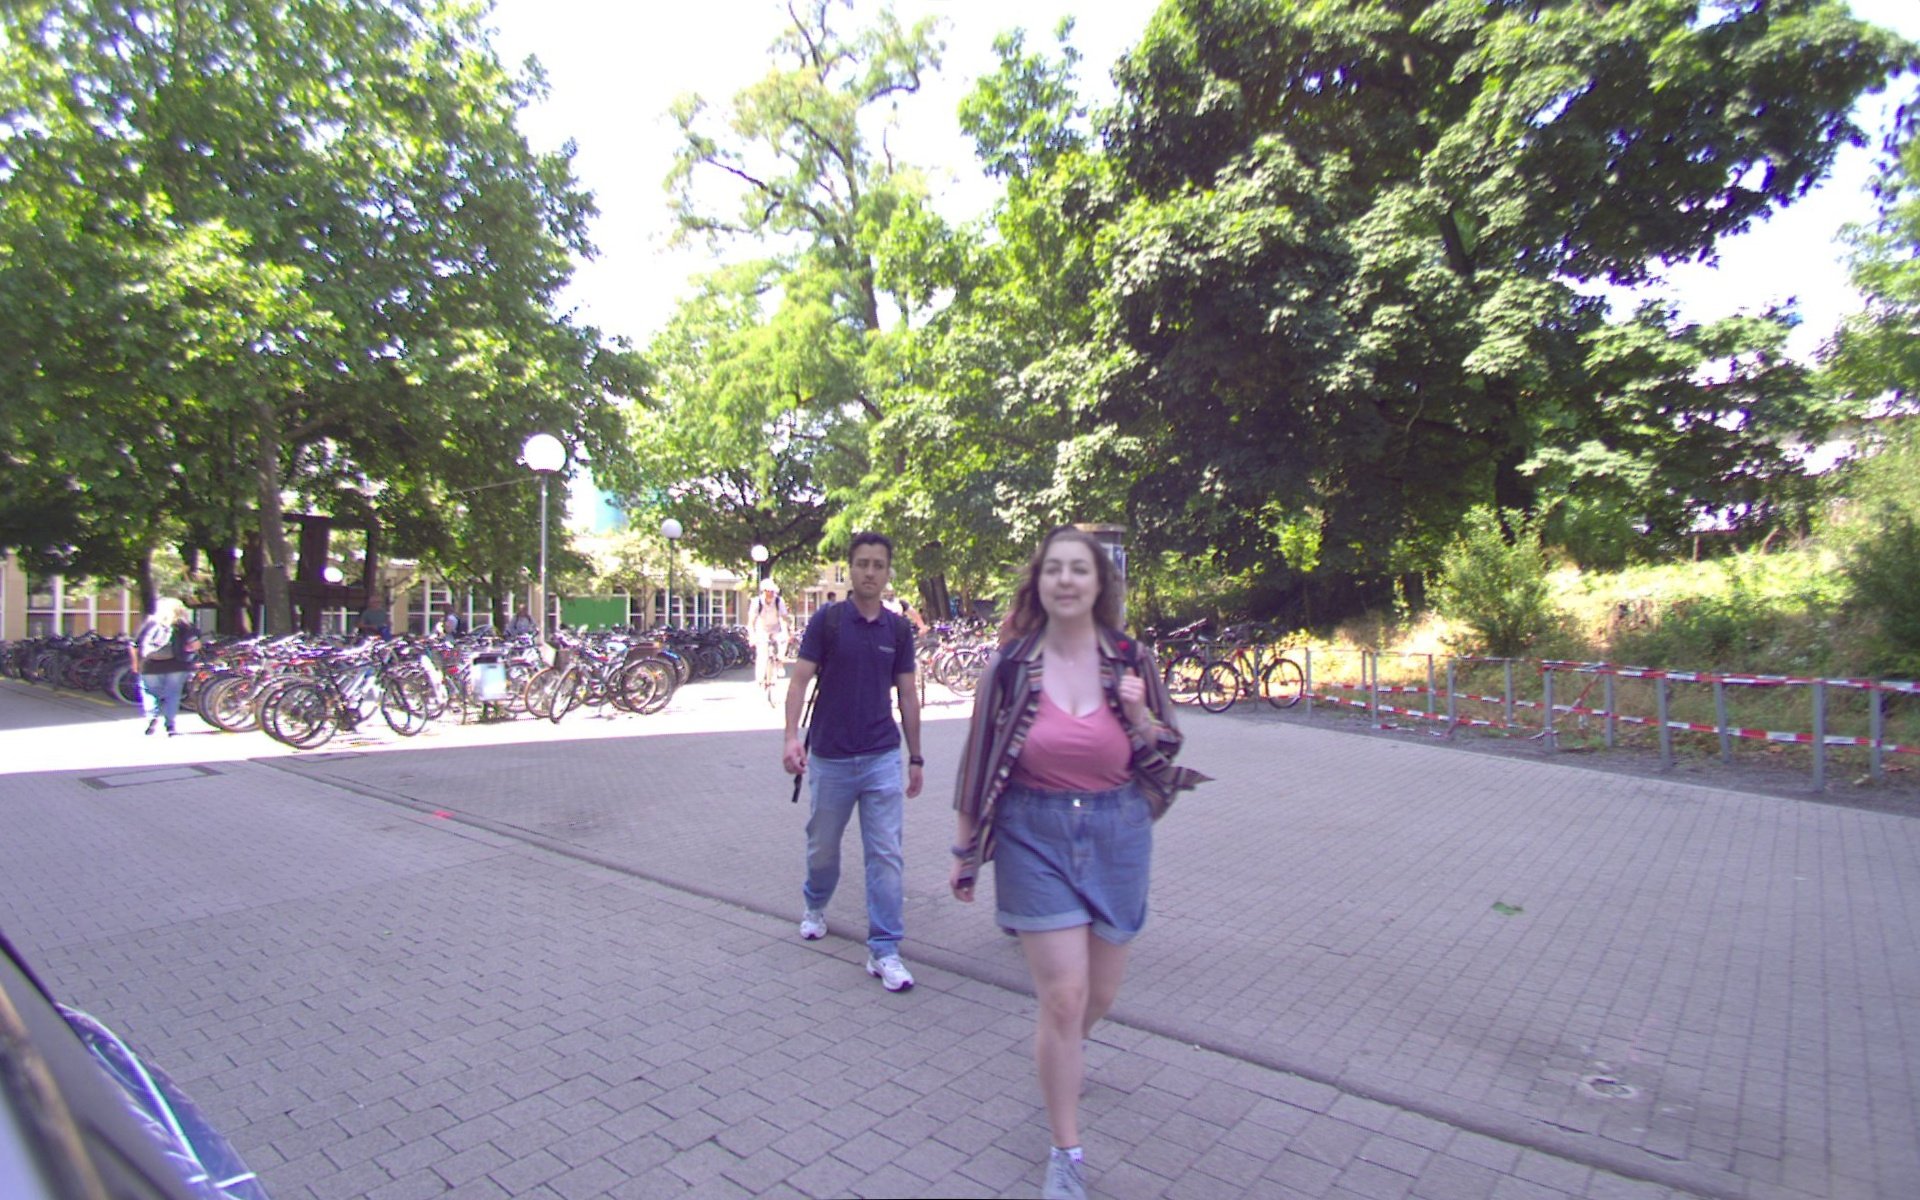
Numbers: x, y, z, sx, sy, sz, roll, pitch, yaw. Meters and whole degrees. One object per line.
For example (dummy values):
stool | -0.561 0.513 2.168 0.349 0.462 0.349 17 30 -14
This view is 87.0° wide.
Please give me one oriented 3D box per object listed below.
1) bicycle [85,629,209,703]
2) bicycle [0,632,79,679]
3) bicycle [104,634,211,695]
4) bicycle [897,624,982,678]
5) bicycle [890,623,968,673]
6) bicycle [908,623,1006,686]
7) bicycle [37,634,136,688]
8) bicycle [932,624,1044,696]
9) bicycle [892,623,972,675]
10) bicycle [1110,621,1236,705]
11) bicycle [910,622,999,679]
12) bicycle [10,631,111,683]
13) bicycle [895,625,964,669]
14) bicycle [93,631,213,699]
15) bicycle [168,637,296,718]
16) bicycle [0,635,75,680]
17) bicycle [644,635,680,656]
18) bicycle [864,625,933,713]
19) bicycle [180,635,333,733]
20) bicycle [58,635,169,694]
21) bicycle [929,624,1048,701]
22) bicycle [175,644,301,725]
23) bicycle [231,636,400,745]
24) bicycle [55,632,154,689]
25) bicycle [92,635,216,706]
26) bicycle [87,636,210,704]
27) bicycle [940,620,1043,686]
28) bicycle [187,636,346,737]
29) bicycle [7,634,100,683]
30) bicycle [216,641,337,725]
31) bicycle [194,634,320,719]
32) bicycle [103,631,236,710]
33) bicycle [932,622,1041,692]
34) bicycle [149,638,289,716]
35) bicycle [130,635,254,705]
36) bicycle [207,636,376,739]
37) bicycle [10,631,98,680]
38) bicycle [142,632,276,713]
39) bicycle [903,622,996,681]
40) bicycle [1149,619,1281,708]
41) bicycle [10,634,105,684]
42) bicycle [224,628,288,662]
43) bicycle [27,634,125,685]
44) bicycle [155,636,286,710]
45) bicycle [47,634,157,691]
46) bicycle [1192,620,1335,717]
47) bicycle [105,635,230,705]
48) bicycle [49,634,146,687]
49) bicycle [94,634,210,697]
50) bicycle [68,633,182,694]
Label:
bicycle | -14.933 1.184 18.629 0.495 1.245 1.721 -1 -1 33
bicycle | -23.538 1.405 25.779 0.691 1.116 1.606 -1 -1 45
bicycle | -16.167 1.274 20.431 0.492 1.116 1.731 -1 -1 16
bicycle | -0.441 1.084 21.795 1.749 1.118 0.518 0 -1 -11
bicycle | -0.734 1.119 23.728 1.750 1.118 0.518 -1 -1 -8
bicycle | -0.064 1.006 18.780 1.749 1.118 0.475 0 -1 -11
bicycle | -19.128 1.320 22.199 1.603 1.116 0.498 0 -1 -36
bicycle | 0.441 0.962 16.432 1.750 1.118 0.475 -1 -1 -6
bicycle | -0.632 1.103 22.832 1.750 1.118 0.518 -1 -1 -8
bicycle | 3.028 0.877 14.352 1.747 1.118 0.475 0 -1 -21
bicycle | -0.118 1.036 20.976 1.749 1.118 0.518 0 -1 -11
bicycle | -21.752 1.357 24.508 0.496 1.170 1.764 -1 -1 35
bicycle | -0.817 1.226 26.719 1.750 1.118 0.518 -1 -1 -8
bicycle | -15.234 1.200 19.143 0.496 1.187 1.718 -1 -1 39
bicycle | -11.026 1.146 15.394 0.469 1.116 1.692 -1 -1 13
bicycle | -24.058 1.483 26.277 0.497 1.116 1.606 -1 -1 45
bicycle | -16.184 2.467 55.014 0.605 1.116 1.805 1 -1 42
bicycle | -0.884 0.928 14.139 0.466 1.118 1.851 0 -1 -19
bicycle | -9.337 1.083 13.503 0.471 1.177 1.686 -1 -1 23
bicycle | -17.443 1.309 20.885 0.496 1.116 1.717 -1 -1 40
bicycle | 0.422 0.937 15.323 1.750 1.118 0.475 -1 -1 -6
bicycle | -10.214 1.173 14.394 0.468 1.026 1.697 -1 -1 5
bicycle | -7.707 1.043 12.174 0.473 1.177 1.680 -1 -1 34
bicycle | -18.534 1.299 21.959 1.603 1.152 0.498 0 -1 -36
bicycle | -14.225 1.223 17.911 0.472 1.154 1.683 -1 -1 28
bicycle | -14.612 1.230 18.265 0.495 1.116 1.682 -1 -1 29
bicycle | 0.551 0.930 17.956 1.749 1.118 0.475 0 -1 -11
bicycle | -8.944 1.077 13.129 0.472 1.177 1.684 -1 -1 27
bicycle | -22.264 1.418 24.883 0.643 1.116 1.610 -1 -1 35
bicycle | -9.710 1.150 14.448 0.468 1.070 1.697 -1 -1 5
bicycle | -10.577 1.116 15.288 0.469 1.166 1.692 -1 -1 13
bicycle | -13.189 1.149 16.924 0.535 1.207 1.681 -1 -1 32
bicycle | 0.437 0.945 16.990 1.749 1.118 0.475 0 -1 -11
bicycle | -11.580 1.173 15.870 0.580 1.116 1.683 -1 -1 29
bicycle | -13.359 1.197 17.653 0.472 1.116 1.683 -1 -1 29
bicycle | -8.369 1.061 12.710 1.752 1.177 0.475 0 -1 -37
bicycle | -22.783 1.381 25.461 0.497 1.159 1.608 -1 -1 40
bicycle | -11.986 1.126 16.208 0.472 1.196 1.683 -1 -1 29
bicycle | -0.206 0.994 19.827 1.749 1.118 0.475 0 -1 -11
bicycle | 3.424 0.830 13.559 1.747 1.118 0.475 0 -1 -21
bicycle | -21.456 1.390 24.089 0.496 1.116 1.610 -1 -1 35
bicycle | -24.320 1.534 34.988 0.392 1.116 1.818 -1 -1 34
bicycle | -20.597 1.366 23.621 1.699 1.116 0.720 0 -1 -39
bicycle | -12.221 1.175 16.786 0.563 1.116 1.683 -1 -1 29
bicycle | -18.127 1.299 21.427 1.711 1.116 0.576 0 -1 -31
bicycle | 3.768 0.821 12.536 1.747 1.118 0.475 0 -1 -21
bicycle | -13.814 1.201 17.690 0.472 1.116 1.683 -1 -1 28
bicycle | -19.360 1.339 22.756 1.603 1.116 0.564 0 -1 -36
bicycle | -15.680 1.250 19.684 0.494 1.116 1.724 -1 -1 28
bicycle | -16.917 1.267 20.549 0.496 1.135 1.720 -1 -1 35
